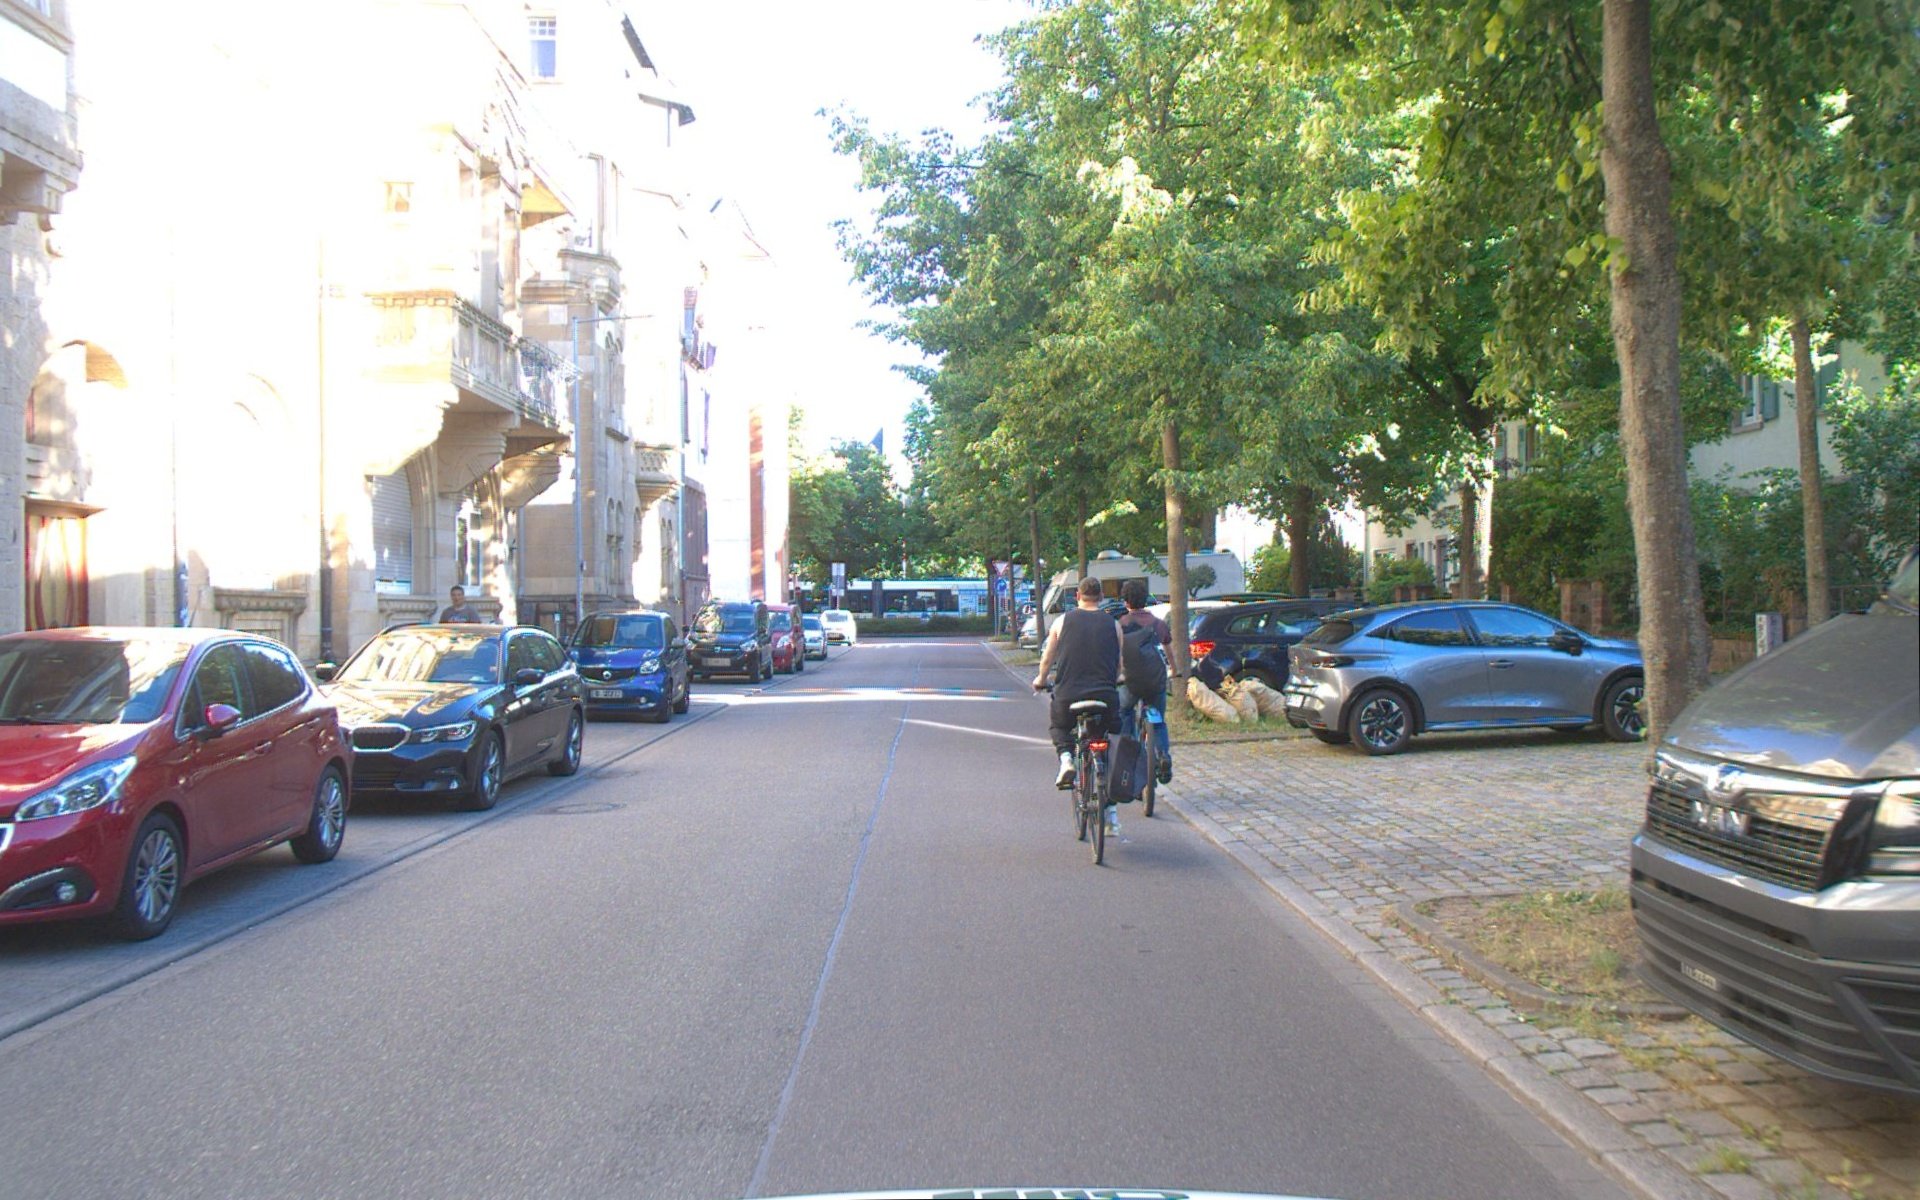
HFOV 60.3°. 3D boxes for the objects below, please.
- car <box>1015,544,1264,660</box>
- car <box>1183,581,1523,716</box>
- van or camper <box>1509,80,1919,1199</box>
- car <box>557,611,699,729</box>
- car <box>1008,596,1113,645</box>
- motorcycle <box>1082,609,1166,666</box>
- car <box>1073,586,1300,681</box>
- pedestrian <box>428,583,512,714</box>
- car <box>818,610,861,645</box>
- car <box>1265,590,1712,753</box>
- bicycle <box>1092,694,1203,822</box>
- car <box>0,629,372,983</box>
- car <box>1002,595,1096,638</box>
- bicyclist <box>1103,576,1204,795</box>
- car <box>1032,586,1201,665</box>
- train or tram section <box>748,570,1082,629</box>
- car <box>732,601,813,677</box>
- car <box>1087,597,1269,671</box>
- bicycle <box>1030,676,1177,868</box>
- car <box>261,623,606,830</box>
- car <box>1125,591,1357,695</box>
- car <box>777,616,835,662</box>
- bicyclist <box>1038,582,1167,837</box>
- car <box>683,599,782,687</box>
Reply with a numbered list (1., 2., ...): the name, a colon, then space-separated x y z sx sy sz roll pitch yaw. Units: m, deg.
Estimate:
1. car: 5.306 0.065 49.557 7.006 3.030 2.462 -3 0 -4
2. car: 5.181 0.659 22.203 4.136 1.628 1.691 -2 -2 1
3. van or camper: 5.549 -0.032 4.718 7.001 2.692 2.465 -4 0 1
4. car: -4.793 0.975 24.173 1.563 1.515 2.735 2 0 -2
5. car: 3.859 0.794 63.889 3.907 1.835 1.833 0 -1 -3
6. motorcycle: 3.418 0.783 34.502 1.574 1.161 0.671 -2 -1 33
7. car: 4.231 0.651 31.354 4.053 1.628 1.702 -2 -2 1
8. pedestrian: -6.721 0.661 22.737 0.919 1.773 0.735 0 -1 -1
9. car: -5.258 1.197 72.422 1.551 1.399 4.131 1 0 0
10. car: 5.261 0.683 16.754 3.953 1.479 1.689 -1 0 -5
11. bicycle: 1.448 1.212 13.050 0.620 0.813 1.832 -2 0 -1
12. car: -4.649 0.935 9.154 1.596 1.479 3.835 0 0 -3
13. car: 3.824 0.710 71.777 3.907 1.835 1.833 0 -1 -3
14. bicyclist: 1.505 0.647 12.979 0.675 1.655 0.998 0 0 0
15. car: 3.960 0.642 42.212 4.002 1.678 1.640 -4 -1 -3
16. train or tram section: -2.844 0.060 115.176 23.484 3.773 4.255 1 -1 -23
17. car: -4.951 0.993 44.148 1.654 1.857 4.272 1 0 0
18. car: 5.182 0.820 39.700 4.056 1.628 1.701 -2 -2 -3
19. bicycle: 0.892 1.063 10.779 0.722 1.072 1.955 1 -1 -2
20. car: -4.495 0.994 14.871 1.641 1.455 4.550 1 0 0
21. car: 4.791 0.747 28.534 3.695 1.628 1.691 -2 -2 1
22. car: -5.079 1.277 55.000 1.551 1.367 4.131 1 0 0
23. bicyclist: 0.904 0.686 10.704 0.715 1.575 0.884 1 -1 -2
24. car: -5.058 0.909 37.245 1.607 1.814 4.354 1 0 0
